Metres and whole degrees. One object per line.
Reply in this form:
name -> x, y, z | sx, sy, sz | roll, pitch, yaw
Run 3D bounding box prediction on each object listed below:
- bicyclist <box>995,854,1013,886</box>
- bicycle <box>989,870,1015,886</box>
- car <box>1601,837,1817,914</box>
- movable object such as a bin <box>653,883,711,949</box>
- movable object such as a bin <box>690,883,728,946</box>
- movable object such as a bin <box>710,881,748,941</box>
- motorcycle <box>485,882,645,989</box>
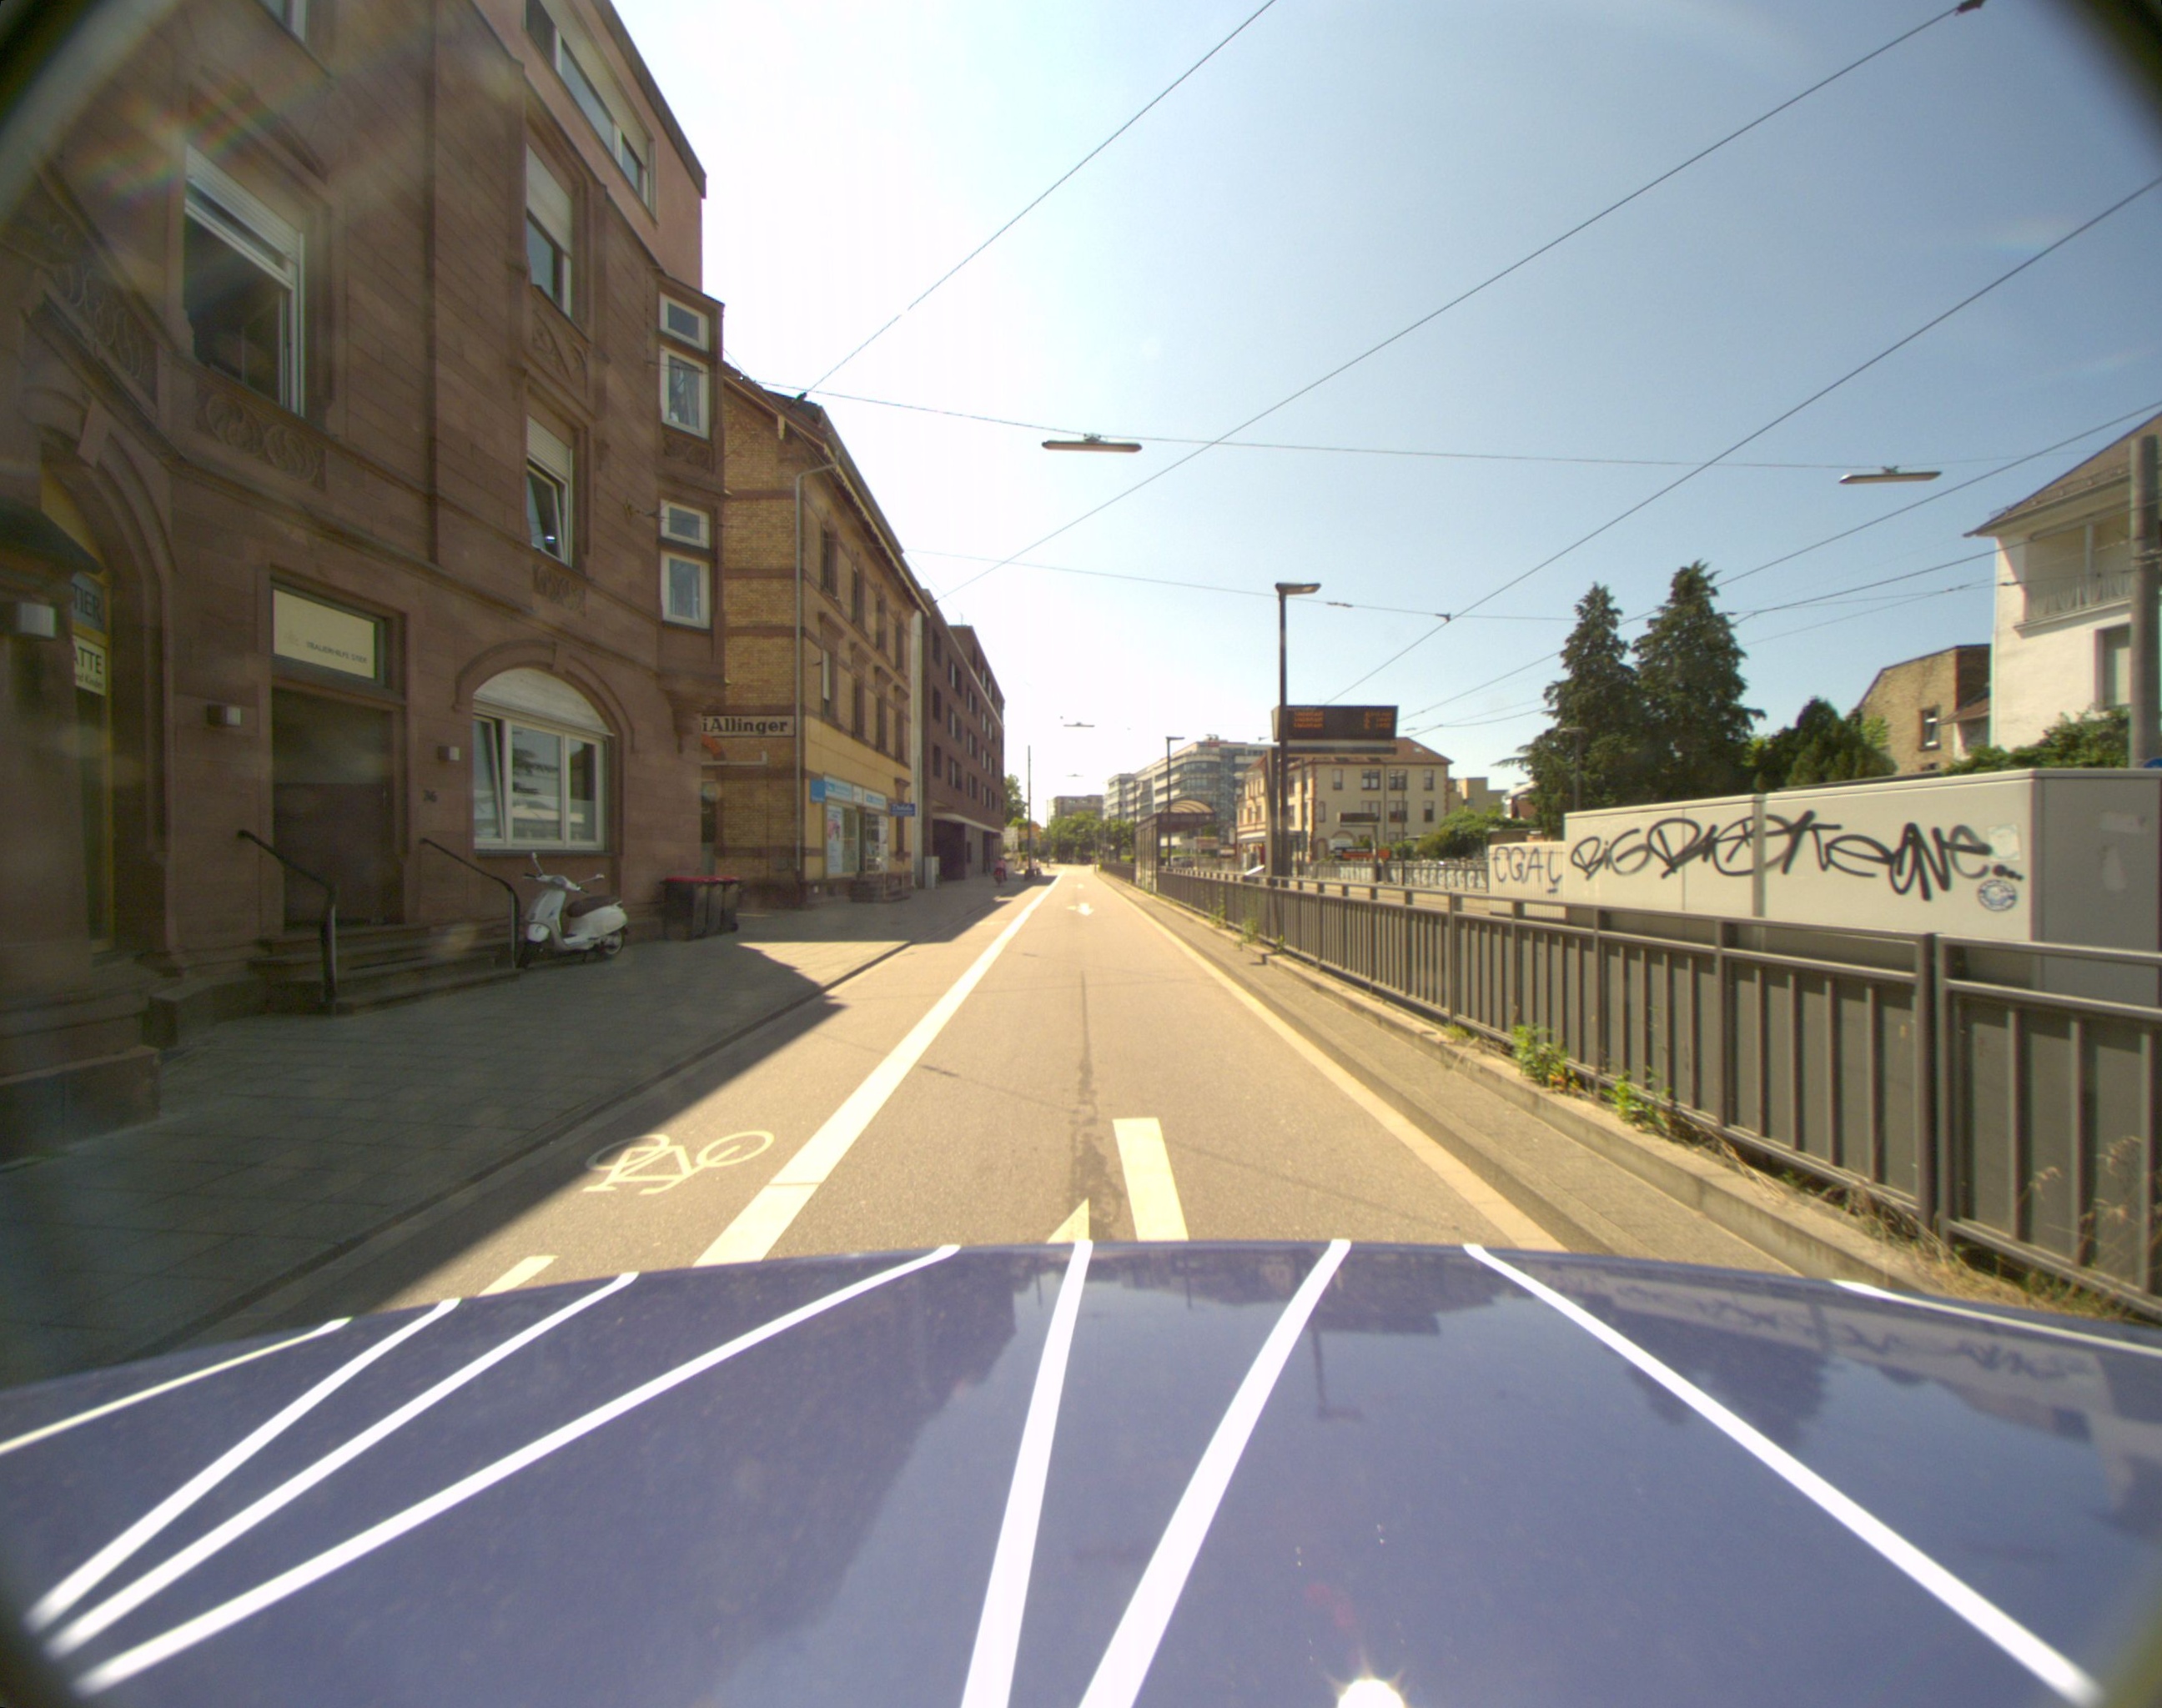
bicyclist -> -4.226, 0.857, 41.711 | 0.670, 1.712, 0.929 | 0, 0, 18
bicycle -> -4.297, 1.319, 41.490 | 0.689, 0.793, 1.910 | -1, 0, 18
car -> 16.451, 0.500, 20.305 | 1.860, 1.806, 4.697 | 1, 0, 0
movable object such as a bin -> -6.683, 1.031, 12.754 | 0.649, 1.042, 0.559 | 2, 1, -1
movable object such as a bin -> -6.523, 1.049, 13.336 | 0.376, 1.042, 0.559 | 2, 1, 0
movable object such as a bin -> -6.471, 1.038, 13.985 | 0.376, 1.042, 0.657 | 2, 0, 0
motorcycle -> -6.438, 0.963, 9.616 | 0.527, 1.142, 1.881 | 0, 0, 8
